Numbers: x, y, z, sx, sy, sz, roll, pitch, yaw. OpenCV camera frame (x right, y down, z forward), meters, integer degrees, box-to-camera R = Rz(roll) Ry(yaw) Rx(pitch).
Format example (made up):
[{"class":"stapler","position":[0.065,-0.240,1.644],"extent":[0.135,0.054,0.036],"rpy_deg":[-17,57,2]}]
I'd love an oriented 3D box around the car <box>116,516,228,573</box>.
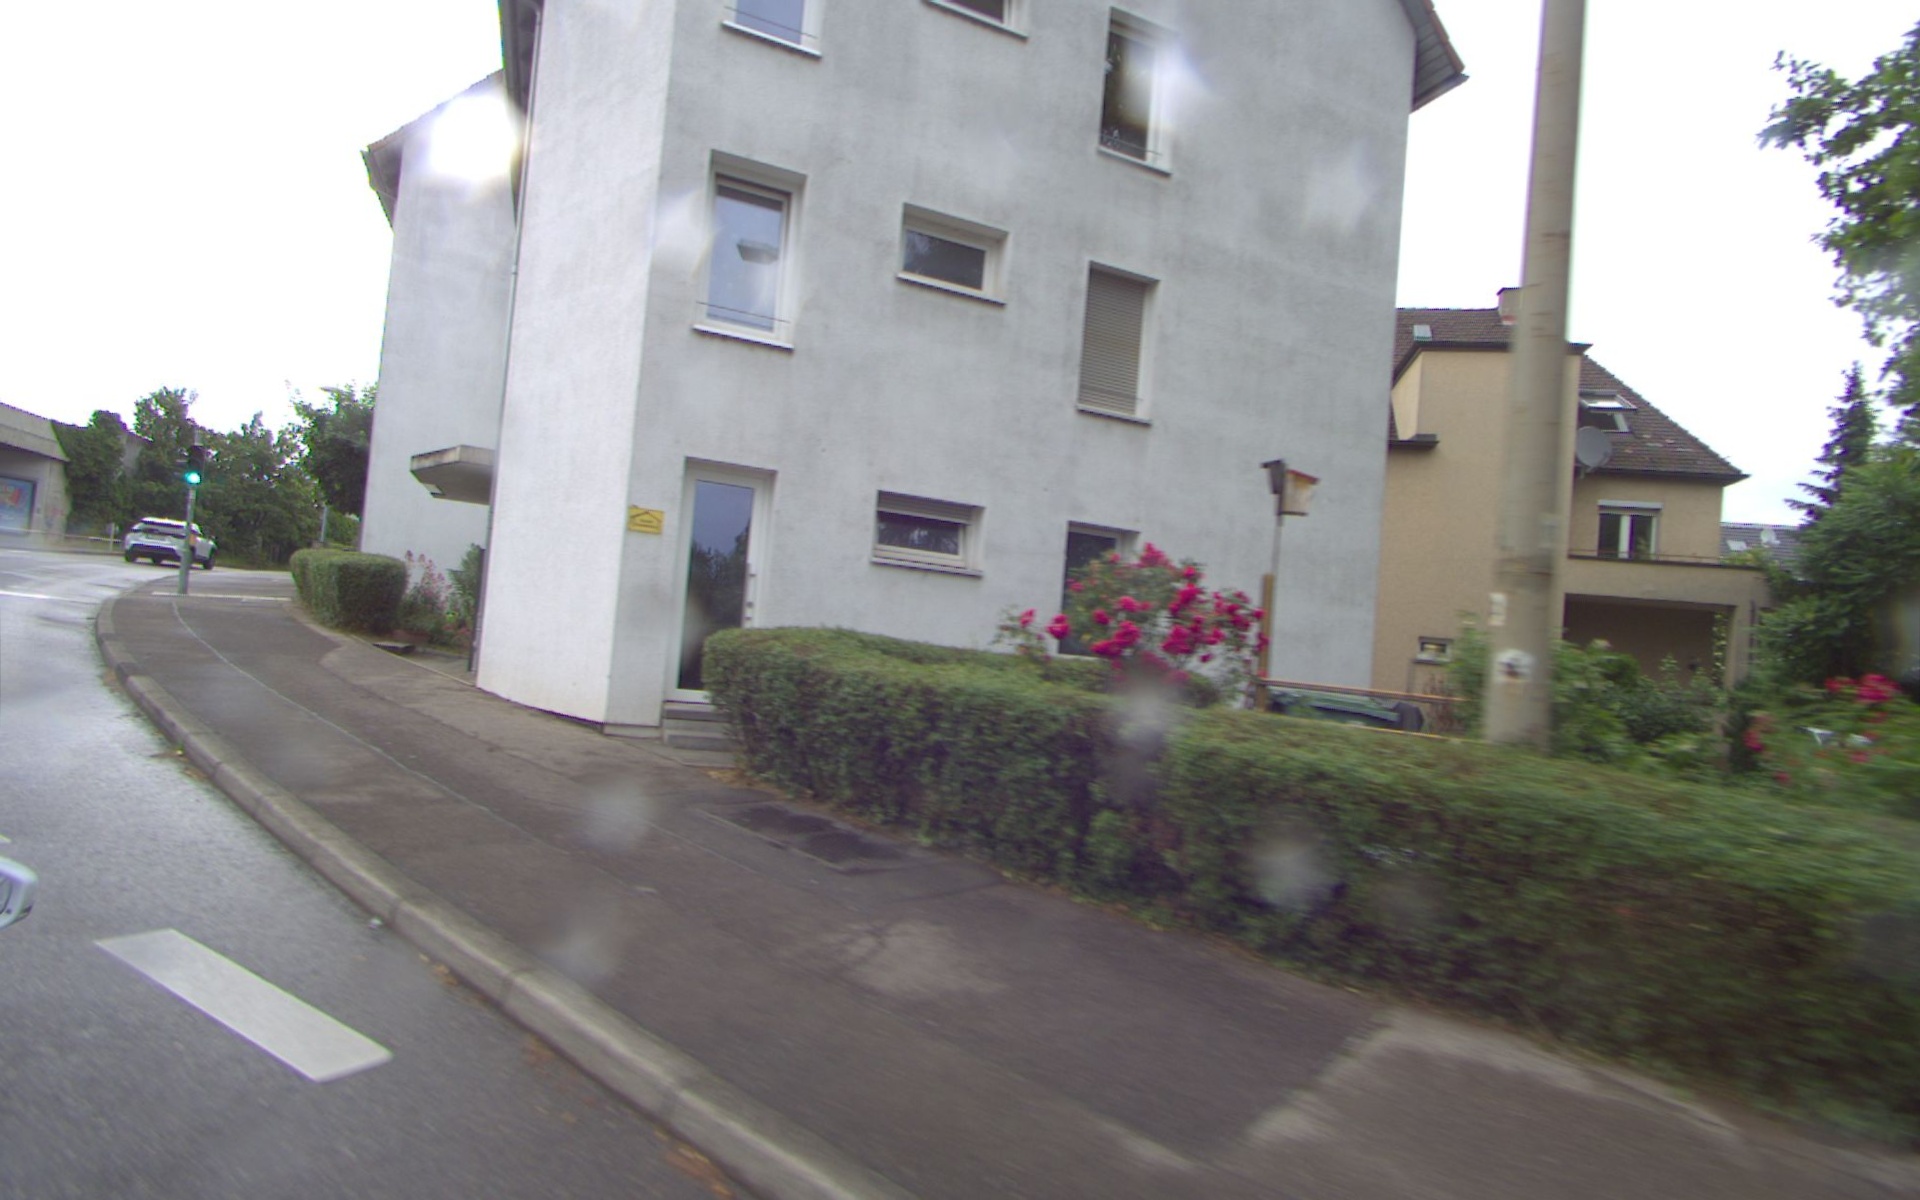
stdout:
[{"class":"car","position":[-27.151,-1.849,34.826],"extent":[1.856,1.547,3.981],"rpy_deg":[8,-2,-22]}]

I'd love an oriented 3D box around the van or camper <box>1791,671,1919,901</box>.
[{"class":"van or camper","position":[9.063,1.662,7.787],"extent":[1.962,1.925,4.334],"rpy_deg":[7,-2,9]}]
